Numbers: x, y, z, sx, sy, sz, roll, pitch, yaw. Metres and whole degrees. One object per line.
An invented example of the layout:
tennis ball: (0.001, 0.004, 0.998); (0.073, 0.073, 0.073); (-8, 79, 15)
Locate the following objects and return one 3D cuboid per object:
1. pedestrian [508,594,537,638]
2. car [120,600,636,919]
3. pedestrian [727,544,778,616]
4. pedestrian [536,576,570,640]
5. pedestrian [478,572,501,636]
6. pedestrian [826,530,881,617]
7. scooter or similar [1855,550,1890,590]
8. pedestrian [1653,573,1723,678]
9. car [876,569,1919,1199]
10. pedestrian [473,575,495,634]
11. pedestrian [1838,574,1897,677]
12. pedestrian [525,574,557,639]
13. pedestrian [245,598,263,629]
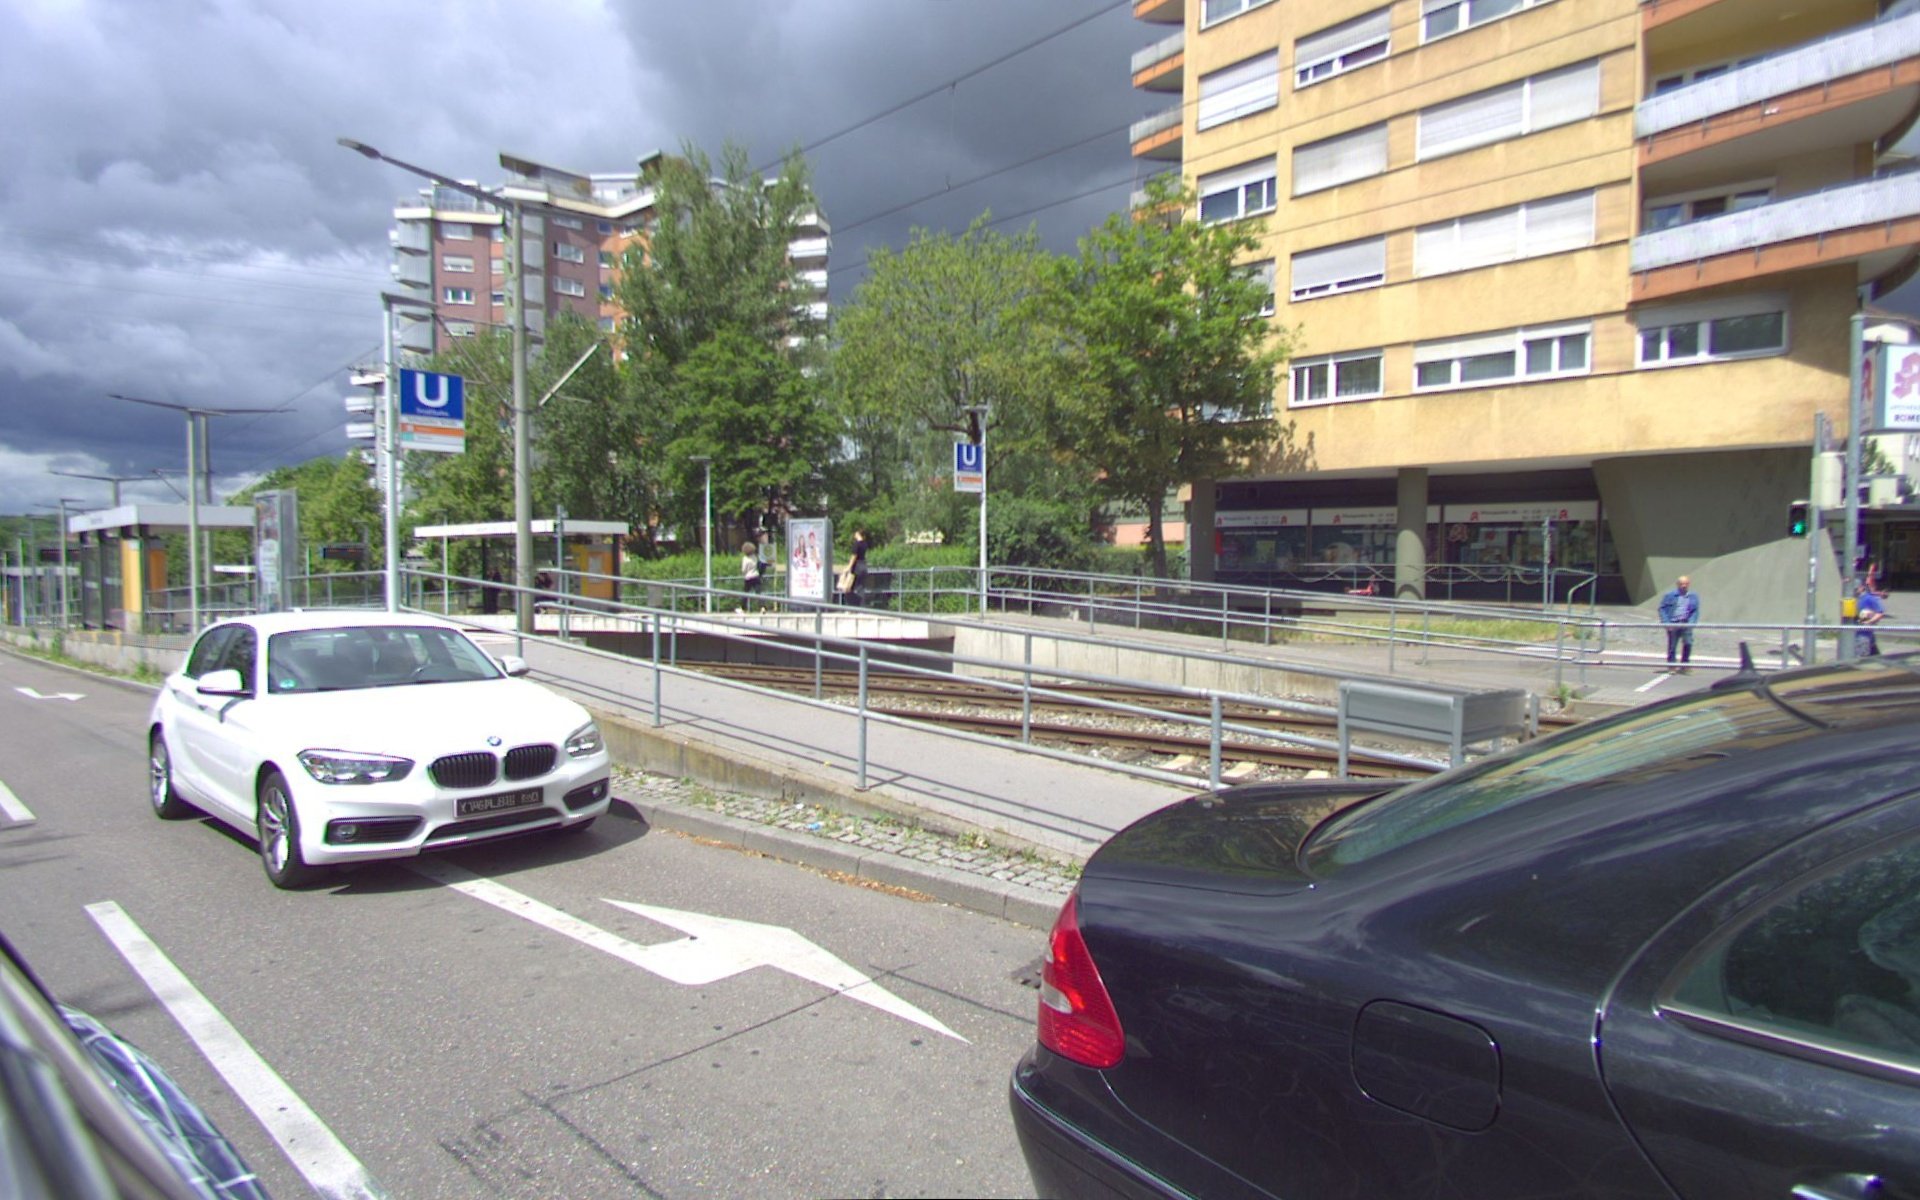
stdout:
pedestrian: (-14.173, 0.510, 32.782); (0.658, 1.425, 0.637); (0, 0, 41)
car: (-4.085, 0.806, 6.770); (4.275, 1.462, 1.770); (-2, -3, 42)
pedestrian: (-4.765, -0.451, 23.237); (0.747, 1.618, 0.854); (0, 0, 40)
pedestrian: (-12.561, 0.249, 31.238); (0.572, 1.946, 0.761); (0, 0, 39)
pedestrian: (-16.106, 0.121, 34.658); (0.608, 2.157, 0.525); (0, 0, 44)
pedestrian: (-2.243, -0.548, 21.310); (0.747, 1.787, 0.854); (0, 0, 40)
scooter or similar: (25.871, -0.846, 28.715); (0.544, 1.102, 1.731); (0, 0, 36)
pedestrian: (11.972, 0.403, 16.652); (0.909, 1.608, 0.712); (0, 5, 37)
car: (2.223, 0.665, 1.010); (4.674, 1.409, 1.950); (0, 0, 42)
pedestrian: (-16.503, 0.164, 35.104); (0.557, 2.029, 0.510); (0, 0, 41)
pedestrian: (13.923, 0.377, 15.536); (0.649, 1.525, 0.711); (0, 0, 41)
pedestrian: (-13.258, 0.209, 32.023); (0.584, 2.029, 0.770); (0, 0, 41)
pedestrian: (-40.172, 0.775, 57.611); (0.763, 1.718, 0.767); (-1, 0, -41)
